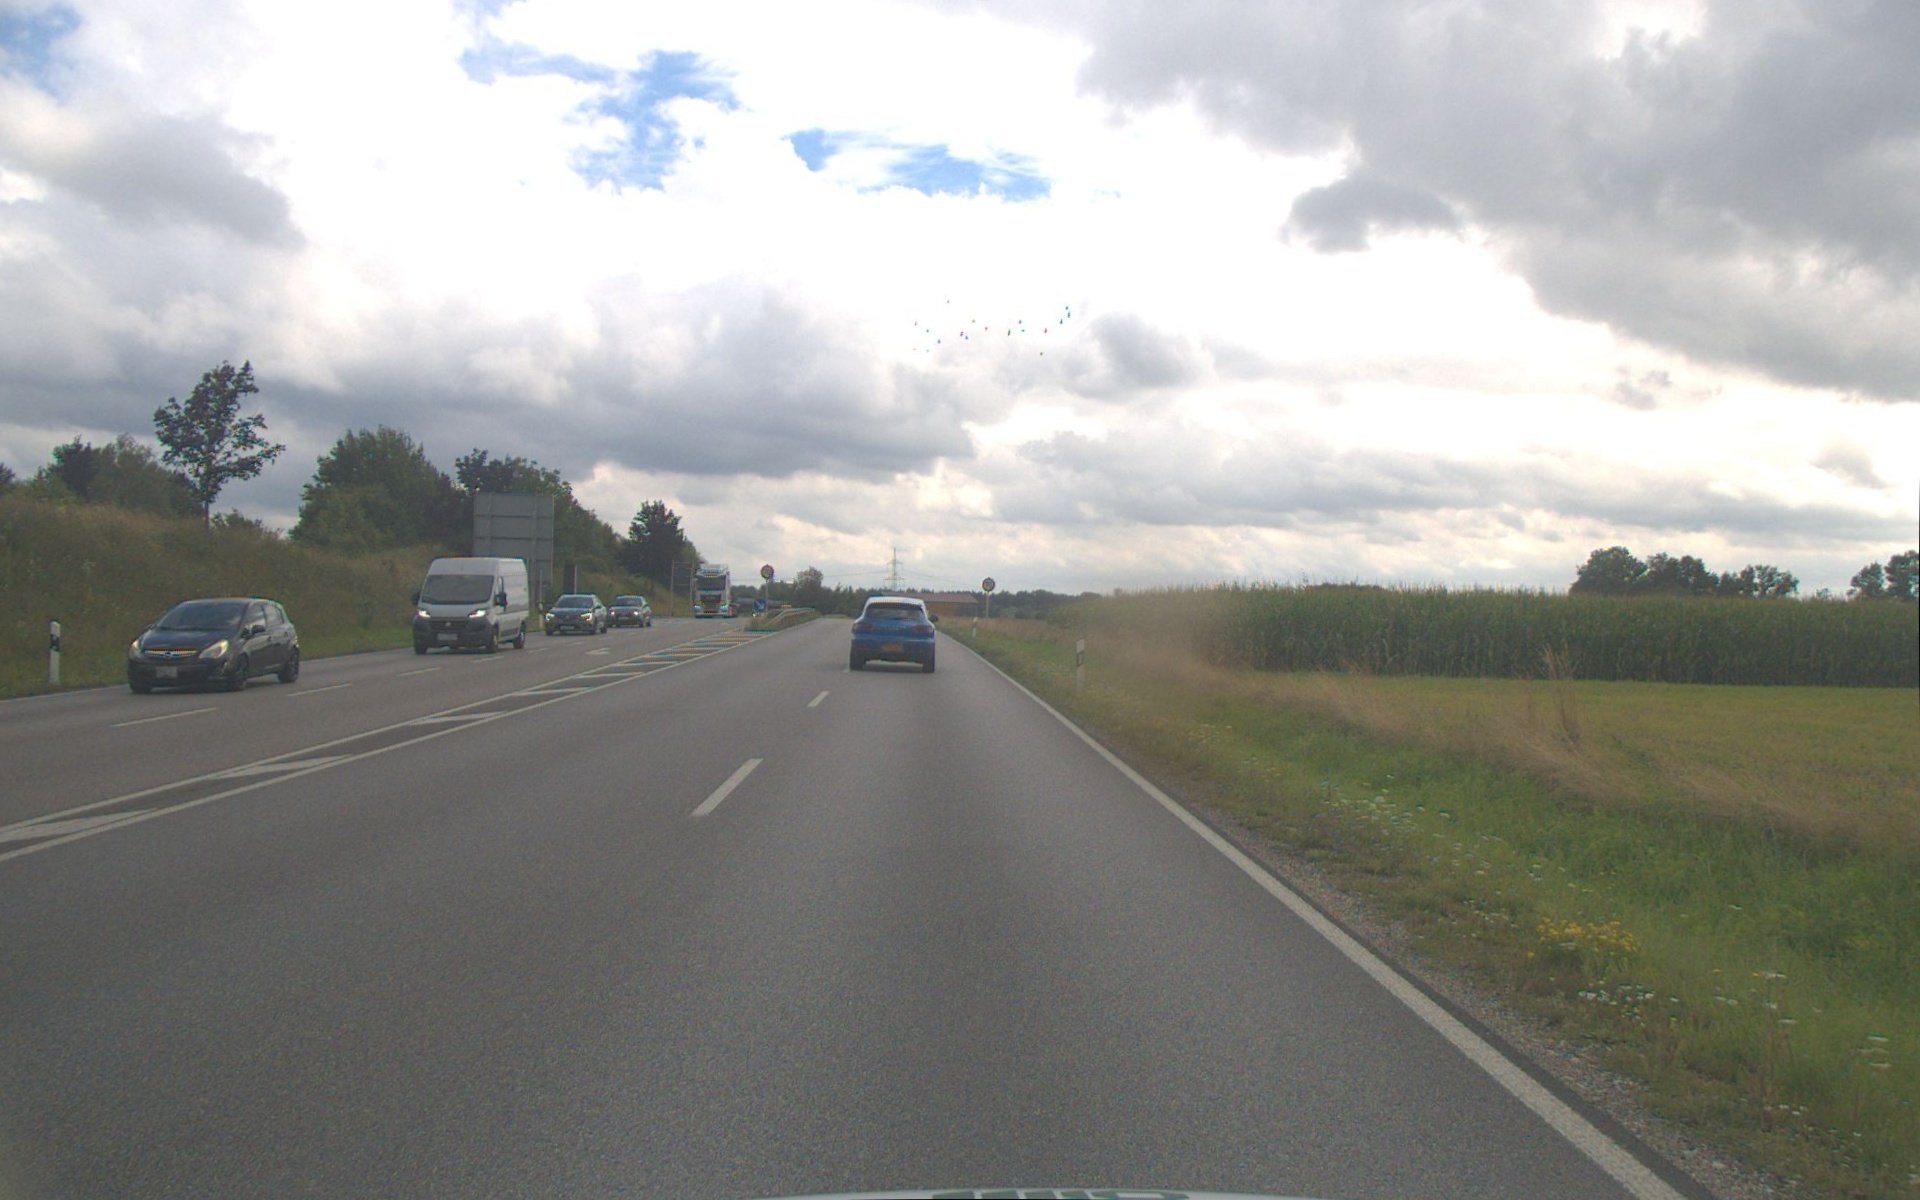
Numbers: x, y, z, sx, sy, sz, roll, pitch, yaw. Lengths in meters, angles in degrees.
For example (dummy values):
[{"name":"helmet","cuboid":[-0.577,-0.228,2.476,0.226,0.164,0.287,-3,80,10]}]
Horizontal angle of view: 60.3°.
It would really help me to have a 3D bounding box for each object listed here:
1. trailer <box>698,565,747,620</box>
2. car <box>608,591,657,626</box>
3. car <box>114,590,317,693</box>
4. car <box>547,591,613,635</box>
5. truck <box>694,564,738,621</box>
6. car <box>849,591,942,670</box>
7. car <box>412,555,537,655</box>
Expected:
[{"name":"trailer","cuboid":[-18.709,-0.642,131.081,2.720,4.016,12.975,2,0,-4]},{"name":"car","cuboid":[-15.170,0.389,76.792,1.698,1.556,4.191,0,1,-4]},{"name":"car","cuboid":[-12.222,0.623,27.457,1.698,1.556,4.191,0,1,-4]},{"name":"car","cuboid":[-14.159,0.463,61.834,1.698,1.556,4.545,0,1,-4]},{"name":"truck","cuboid":[-18.249,-0.565,123.886,2.747,4.067,5.283,2,0,-4]},{"name":"car","cuboid":[-1.527,0.662,37.821,1.993,1.689,4.540,1,0,-4]},{"name":"car","cuboid":[-12.875,0.095,44.215,1.993,2.482,5.631,0,1,-4]}]
